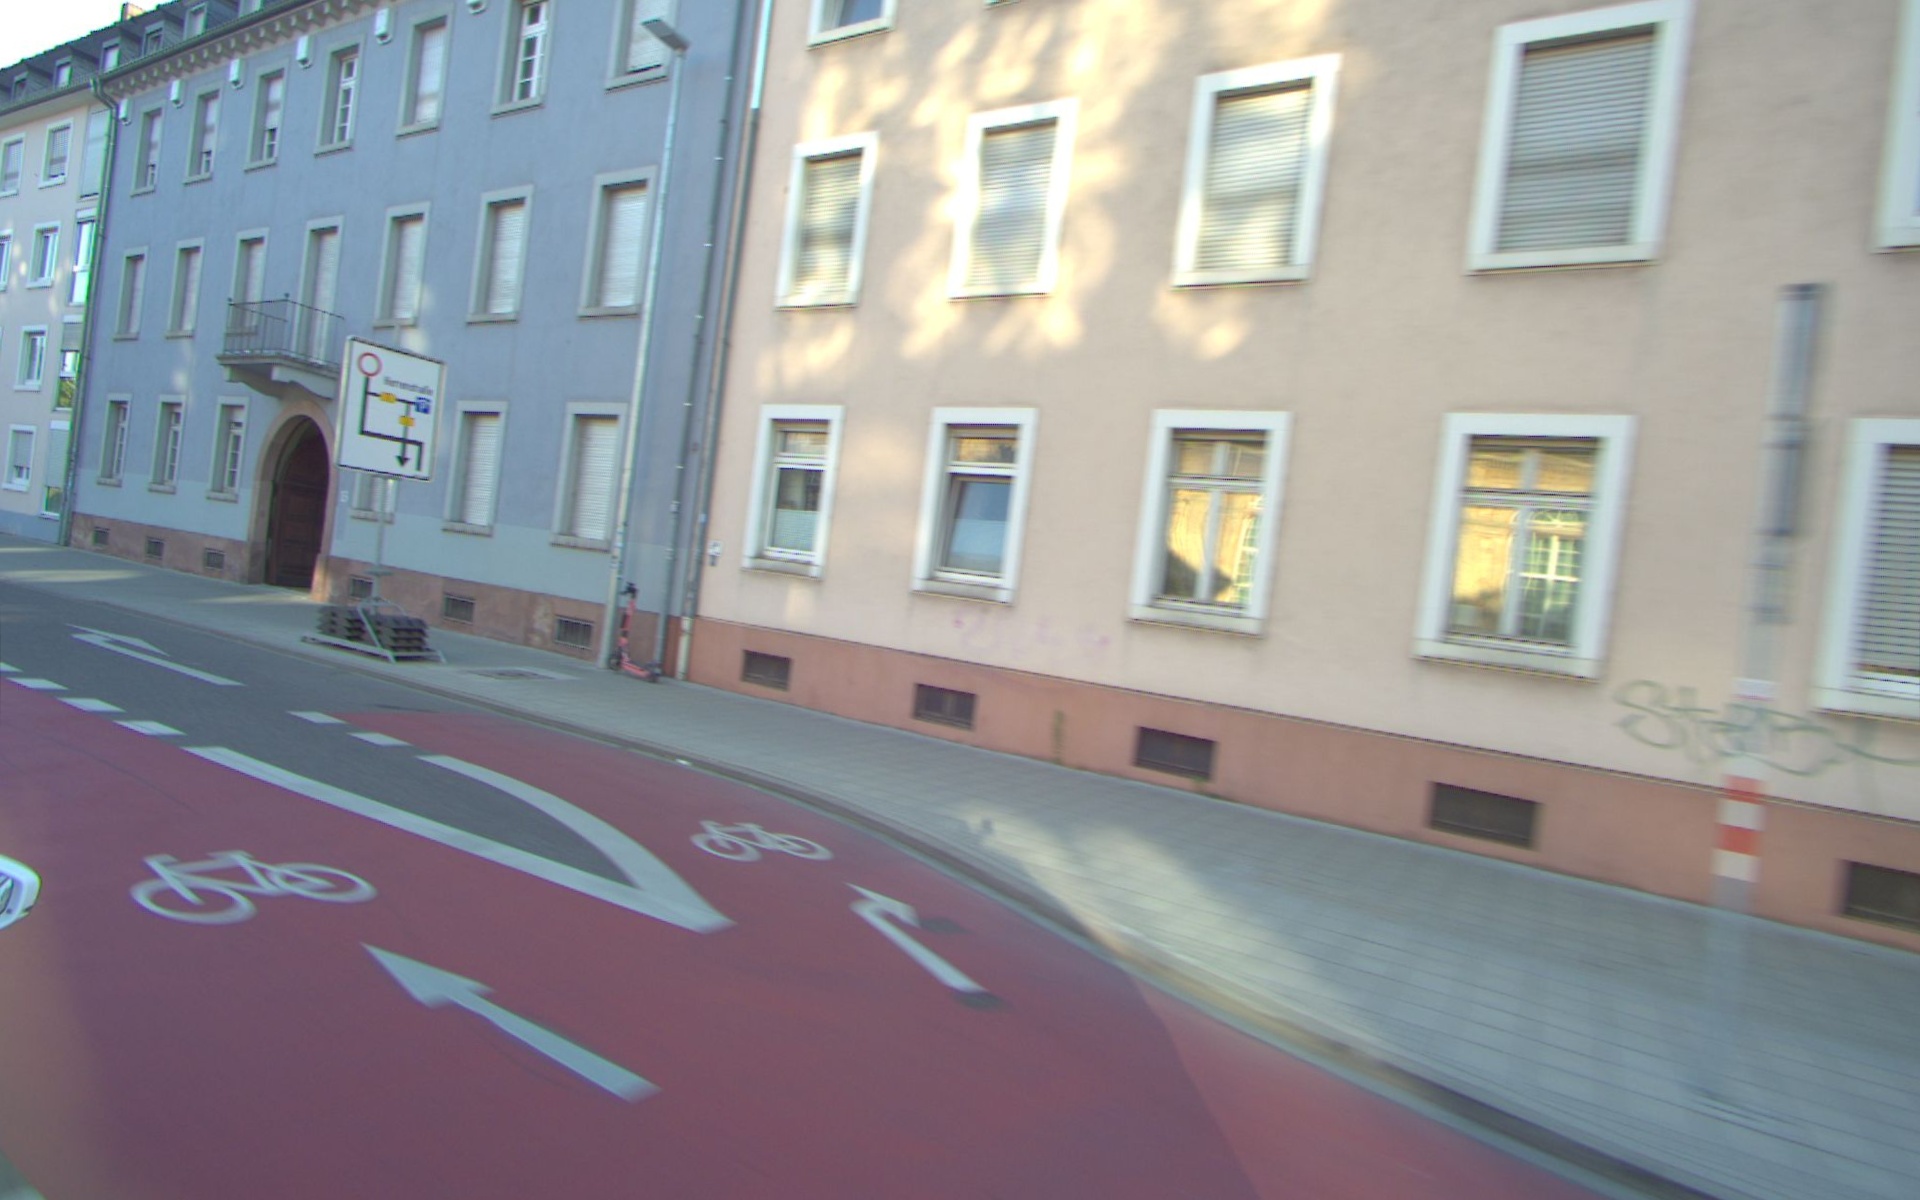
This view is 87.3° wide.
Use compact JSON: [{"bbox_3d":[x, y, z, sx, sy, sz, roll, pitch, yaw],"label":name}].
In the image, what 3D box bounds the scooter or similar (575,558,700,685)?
[{"bbox_3d":[-4.321,0.274,13.429,1.648,1.478,0.724,8,3,40],"label":"scooter or similar"}]
